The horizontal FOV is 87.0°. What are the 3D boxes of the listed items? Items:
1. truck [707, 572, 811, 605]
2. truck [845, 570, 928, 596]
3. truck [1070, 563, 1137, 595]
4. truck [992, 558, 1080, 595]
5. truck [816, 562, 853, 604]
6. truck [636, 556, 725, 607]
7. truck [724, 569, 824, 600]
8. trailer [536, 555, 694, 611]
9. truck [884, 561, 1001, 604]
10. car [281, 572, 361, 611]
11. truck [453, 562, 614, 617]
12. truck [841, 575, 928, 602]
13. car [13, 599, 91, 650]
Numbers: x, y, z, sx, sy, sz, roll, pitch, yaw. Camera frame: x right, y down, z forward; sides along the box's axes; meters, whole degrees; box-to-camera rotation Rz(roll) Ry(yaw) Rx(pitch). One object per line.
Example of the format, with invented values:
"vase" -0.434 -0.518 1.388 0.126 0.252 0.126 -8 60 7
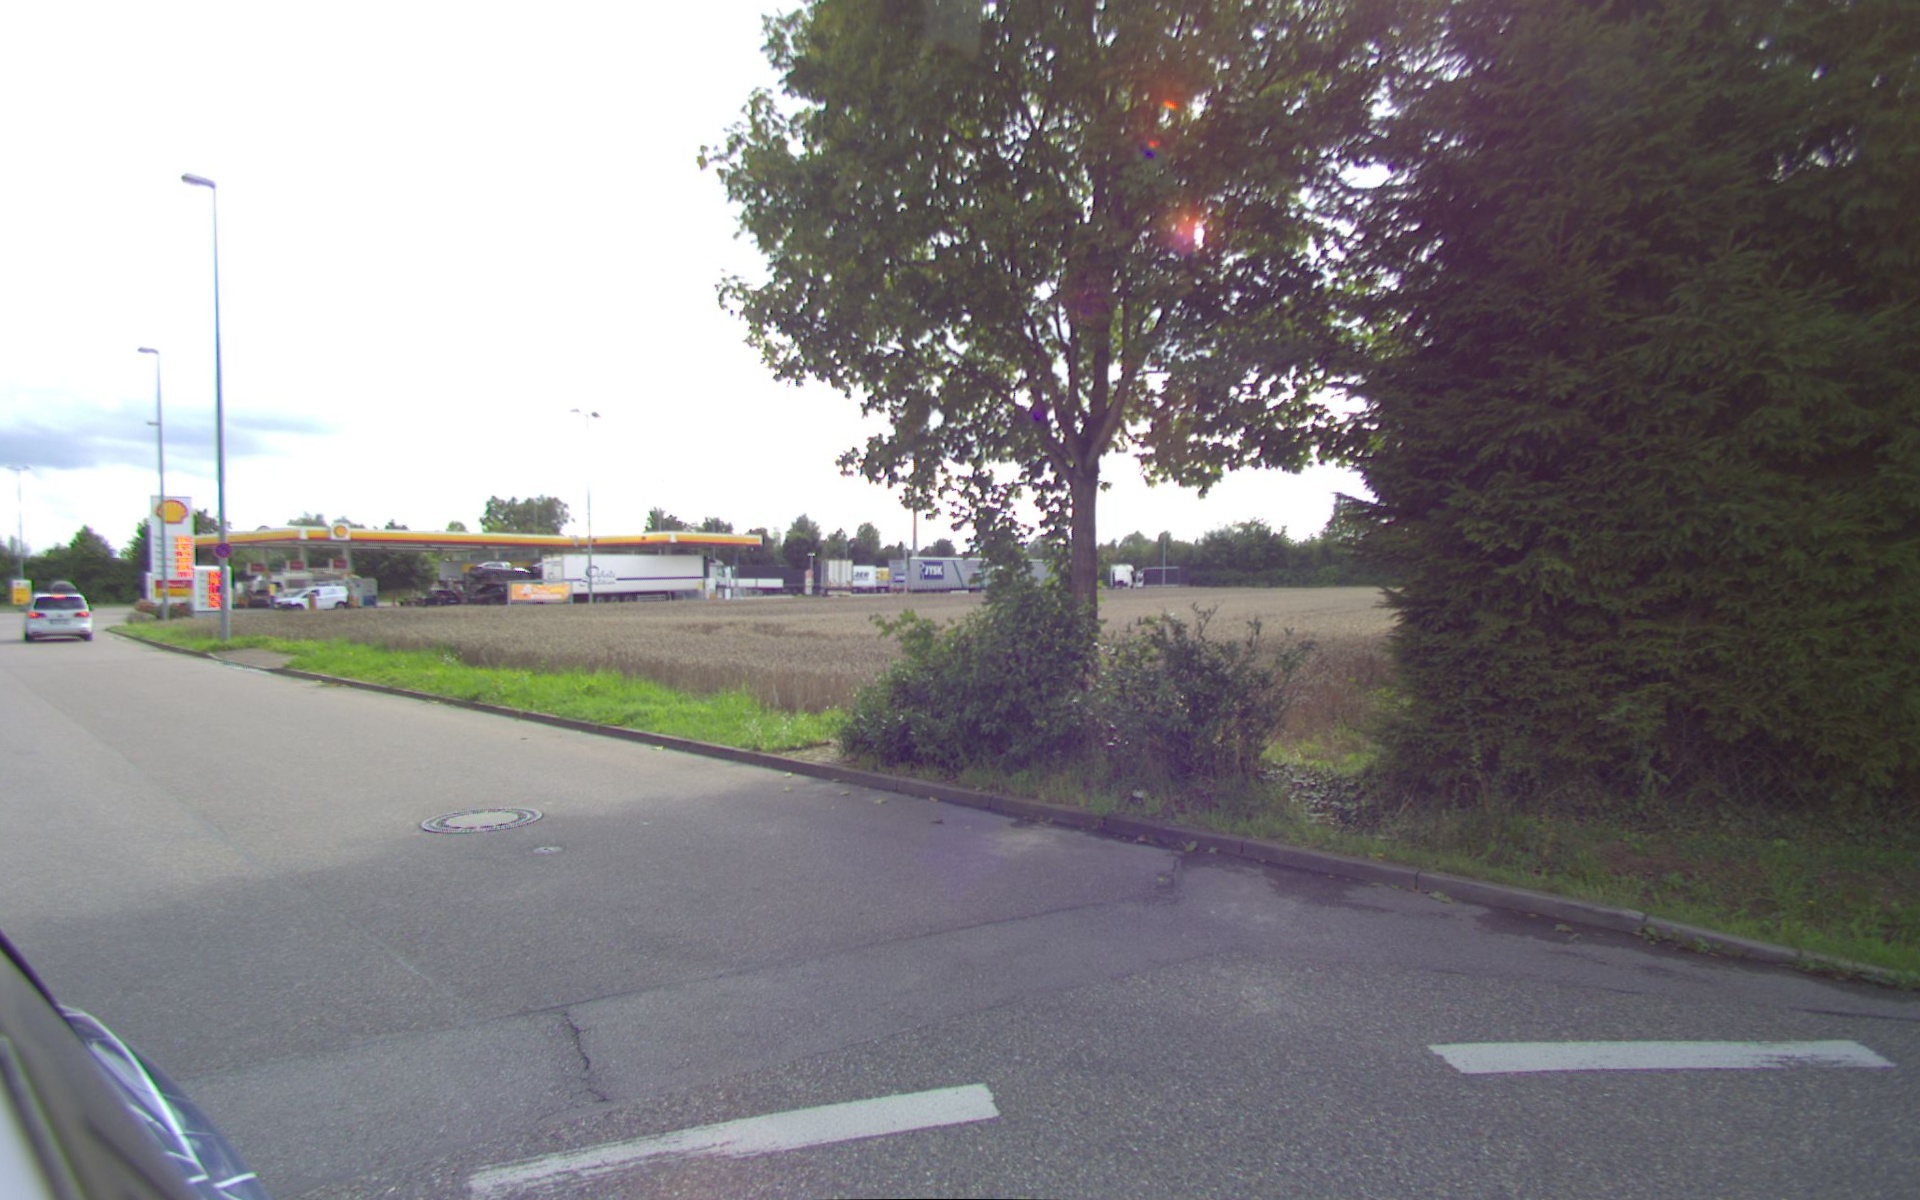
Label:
"truck" -25.133 -1.477 126.956 12.599 3.922 2.831 0 1 -11
"truck" -11.462 -2.644 157.313 12.599 3.922 2.831 0 1 -11
"truck" 18.457 -2.723 128.925 2.819 3.922 12.651 1 2 37
"truck" 8.869 -2.724 114.436 2.817 3.922 15.284 1 2 34
"truck" -13.463 -1.886 107.575 2.915 4.143 14.783 0 1 -11
"truck" -23.378 -1.549 85.056 2.706 4.055 7.086 -1 1 34
"truck" -24.519 -2.099 133.779 12.804 3.922 2.830 0 1 -9
"trailer" -26.891 -1.374 79.837 2.706 4.055 12.699 -1 1 34
"truck" -1.395 -1.788 99.137 2.819 3.922 15.271 1 2 37
"car" -48.137 -0.665 76.448 2.195 2.807 5.804 -1 1 2
"truck" -33.090 -0.892 79.513 2.738 3.953 13.140 1 1 26
"truck" -11.297 -1.777 151.176 12.599 3.922 2.831 0 1 -11
"car" -31.680 0.808 35.272 4.032 1.678 1.680 0 0 43
